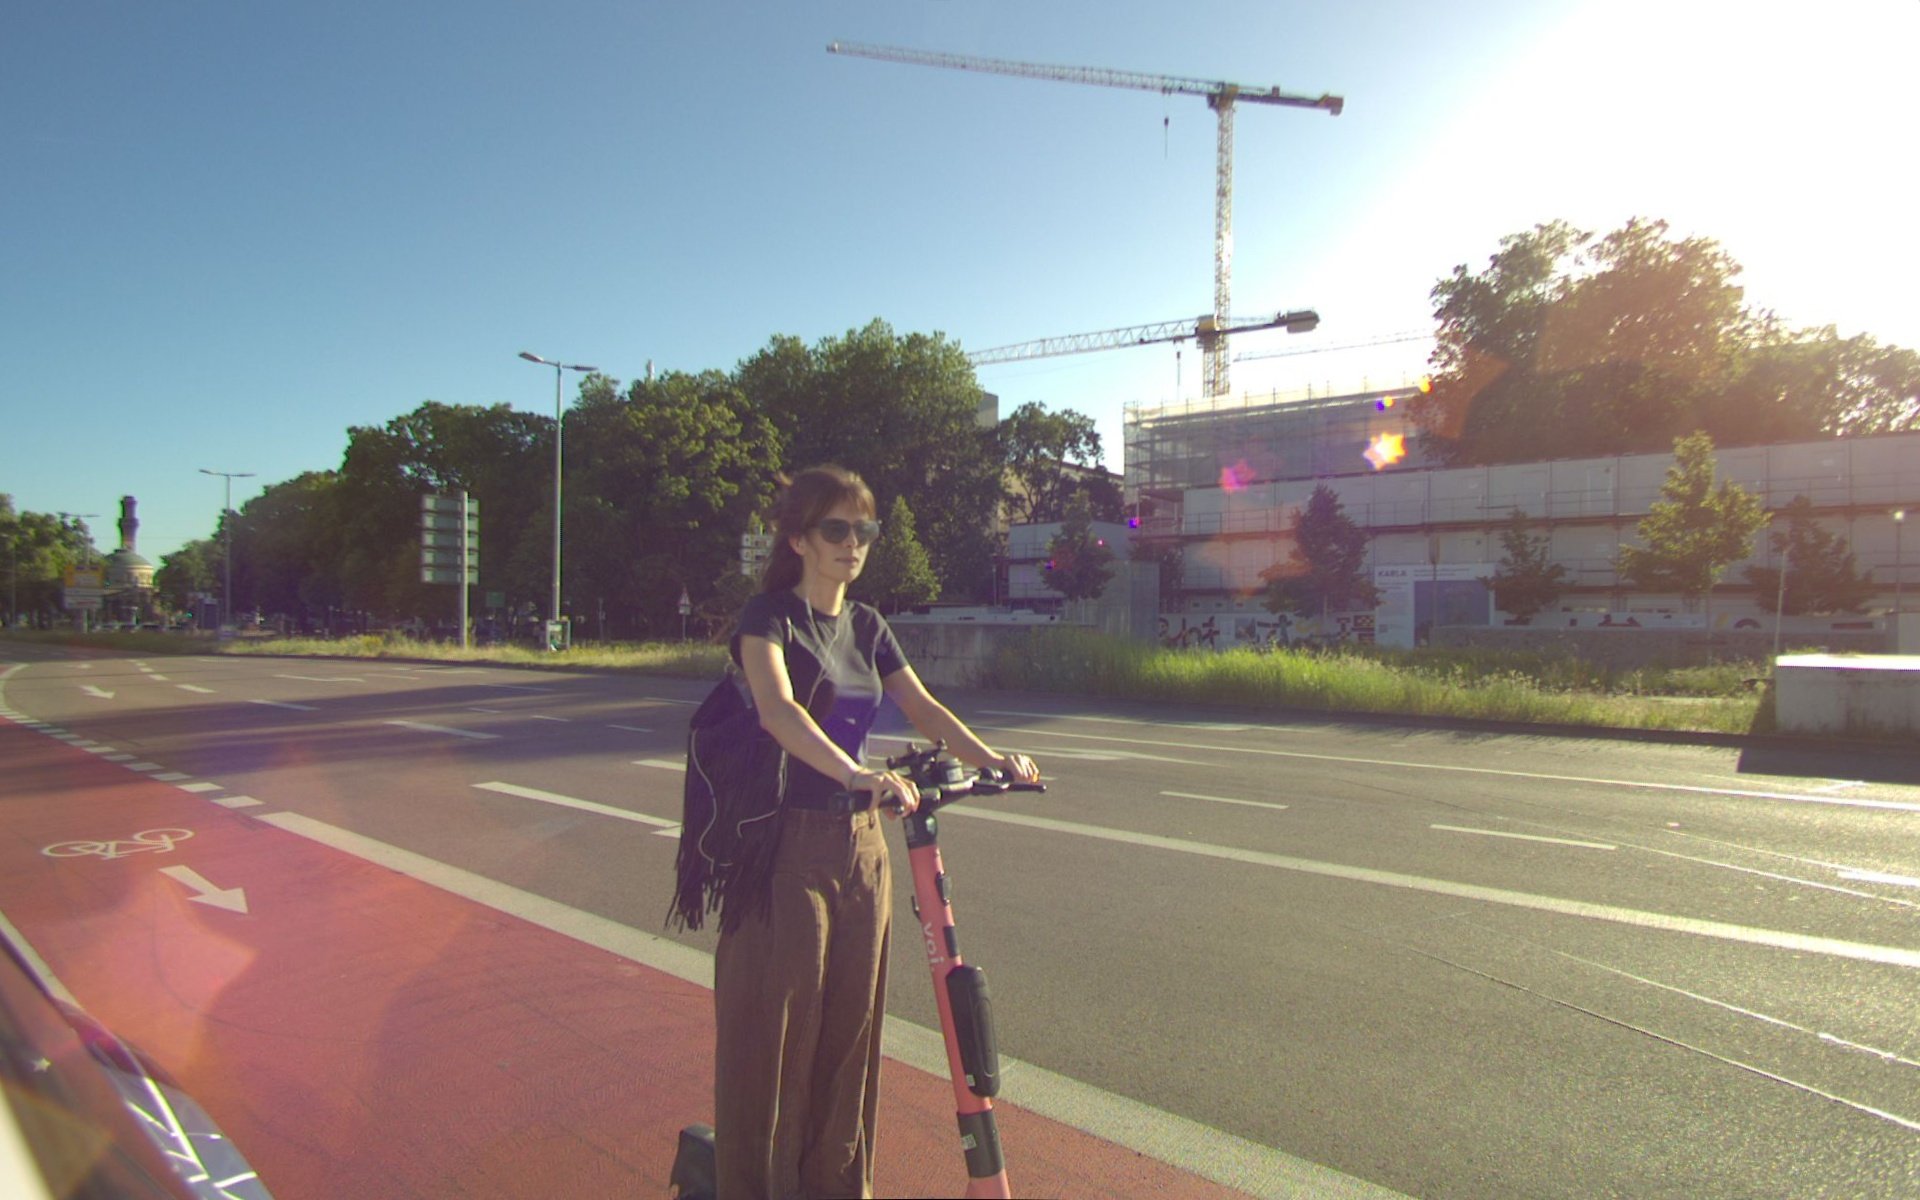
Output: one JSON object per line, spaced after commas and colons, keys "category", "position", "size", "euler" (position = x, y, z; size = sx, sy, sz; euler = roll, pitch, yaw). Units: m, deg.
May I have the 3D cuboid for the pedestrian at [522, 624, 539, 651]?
{"category": "pedestrian", "position": [-27.552, 2.410, 64.952], "size": [0.762, 1.738, 0.698], "euler": [-1, -2, 41]}

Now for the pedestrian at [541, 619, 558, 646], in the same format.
{"category": "pedestrian", "position": [-26.830, 2.115, 66.155], "size": [0.762, 1.738, 0.698], "euler": [-1, -2, 41]}

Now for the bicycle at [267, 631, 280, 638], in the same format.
{"category": "bicycle", "position": [-76.609, 3.851, 112.947], "size": [0.601, 0.849, 1.750], "euler": [0, -1, -12]}

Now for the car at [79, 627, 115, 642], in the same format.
{"category": "car", "position": [-82.291, 3.309, 96.494], "size": [3.995, 1.409, 1.849], "euler": [-1, -2, 39]}

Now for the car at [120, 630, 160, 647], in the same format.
{"category": "car", "position": [-70.080, 3.303, 86.464], "size": [3.996, 1.409, 1.849], "euler": [-1, -2, 40]}

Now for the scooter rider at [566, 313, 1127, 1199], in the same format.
{"category": "scooter rider", "position": [-0.221, 0.497, 1.955], "size": [0.811, 1.788, 0.721], "euler": [-1, -1, 41]}

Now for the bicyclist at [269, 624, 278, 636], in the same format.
{"category": "bicyclist", "position": [-76.607, 3.379, 112.959], "size": [0.601, 1.291, 0.717], "euler": [0, -2, -12]}

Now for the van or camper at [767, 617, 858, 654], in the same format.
{"category": "van or camper", "position": [-8.943, 2.117, 61.942], "size": [1.948, 2.029, 5.576], "euler": [-1, 0, 42]}

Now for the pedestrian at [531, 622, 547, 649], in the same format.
{"category": "pedestrian", "position": [-27.251, 2.307, 65.549], "size": [0.762, 1.738, 0.656], "euler": [-1, -2, 41]}

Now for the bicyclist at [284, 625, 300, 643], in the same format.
{"category": "bicyclist", "position": [-46.849, 2.373, 70.951], "size": [0.884, 1.292, 0.631], "euler": [-1, -2, 36]}

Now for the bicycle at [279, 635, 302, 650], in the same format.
{"category": "bicycle", "position": [-46.946, 2.971, 70.983], "size": [2.239, 1.030, 0.631], "euler": [-1, -2, 36]}

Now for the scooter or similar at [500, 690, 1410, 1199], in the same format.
{"category": "scooter or similar", "position": [-0.135, 0.833, 1.909], "size": [1.664, 1.211, 0.721], "euler": [-1, -1, 41]}

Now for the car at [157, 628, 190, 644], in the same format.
{"category": "car", "position": [-77.680, 3.519, 99.937], "size": [4.000, 1.519, 1.972], "euler": [-1, -2, 43]}

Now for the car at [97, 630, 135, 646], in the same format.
{"category": "car", "position": [-75.605, 3.373, 90.649], "size": [3.996, 1.409, 1.849], "euler": [-1, -2, 39]}
